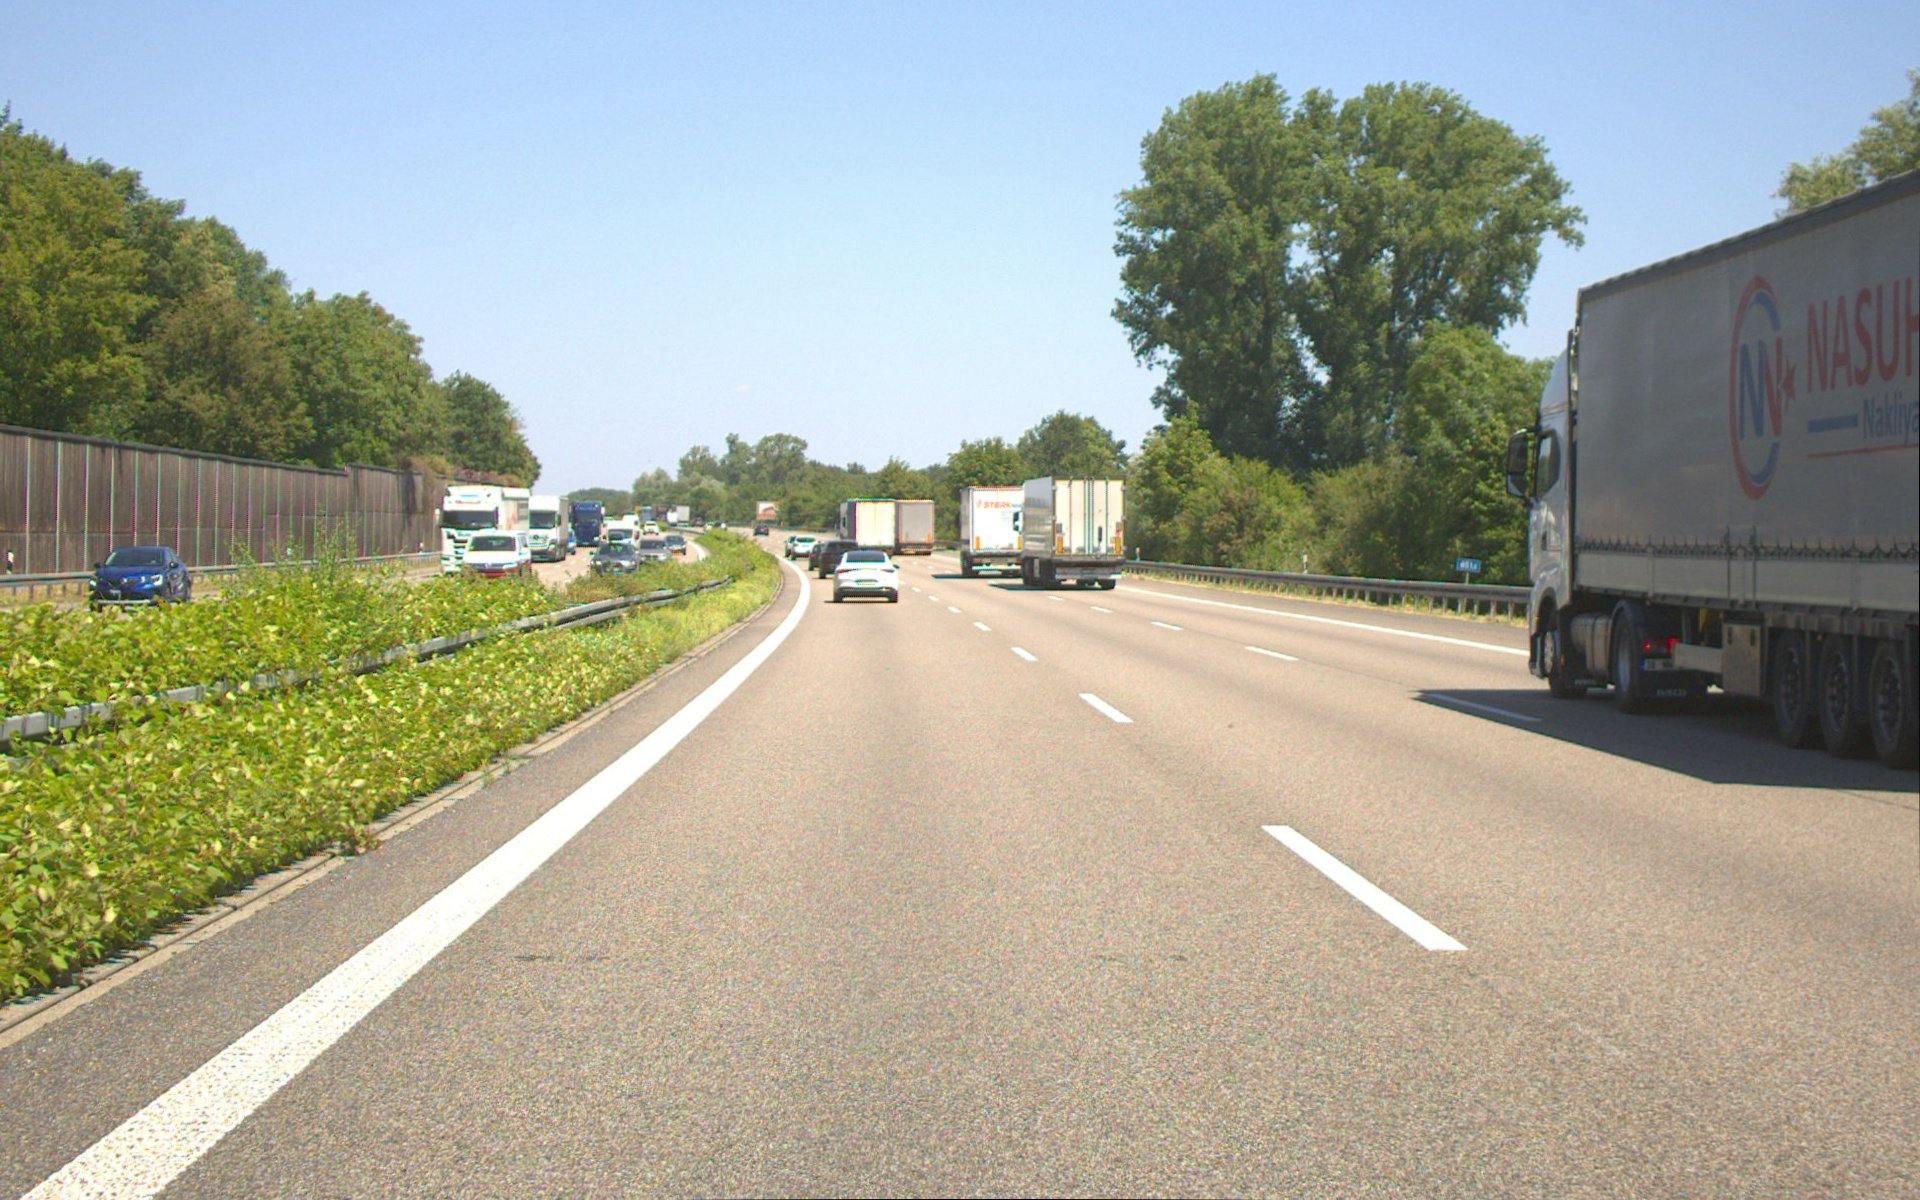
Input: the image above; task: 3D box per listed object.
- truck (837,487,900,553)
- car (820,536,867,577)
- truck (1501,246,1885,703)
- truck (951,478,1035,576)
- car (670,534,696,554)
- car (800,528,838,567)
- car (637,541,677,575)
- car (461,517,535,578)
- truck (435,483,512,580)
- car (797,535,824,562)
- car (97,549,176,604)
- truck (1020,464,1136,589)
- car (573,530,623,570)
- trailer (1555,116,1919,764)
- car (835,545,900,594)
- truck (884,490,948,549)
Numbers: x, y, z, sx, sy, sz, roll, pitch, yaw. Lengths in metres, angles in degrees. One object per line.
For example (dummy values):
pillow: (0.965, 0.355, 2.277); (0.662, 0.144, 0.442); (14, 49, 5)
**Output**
truck: (-6.286, -5.377, 233.949); (3.579, 4.296, 12.192); (0, 1, -5)
car: (-5.150, -1.940, 152.006); (1.993, 1.766, 4.001); (0, 1, -3)
truck: (7.319, -1.210, 35.027); (2.605, 4.272, 5.436); (0, 1, -1)
truck: (1.420, -3.265, 156.430); (3.359, 4.296, 10.829); (0, 1, -2)
car: (-20.111, -4.091, 249.688); (1.760, 1.423, 3.936); (0, 1, -3)
car: (-7.433, -2.765, 181.538); (1.993, 2.007, 4.001); (0, 1, -2)
car: (-14.986, -2.101, 170.187); (1.766, 1.646, 4.039); (0, 1, -2)
car: (-15.059, -1.713, 112.274); (1.926, 1.939, 4.609); (0, 1, -2)
truck: (-21.470, -2.994, 151.954); (2.730, 4.178, 6.037); (0, 1, -2)
car: (-9.924, -3.436, 228.419); (1.723, 1.777, 4.001); (0, 1, -2)
car: (-19.368, -0.565, 80.967); (1.279, 1.251, 3.029); (0, 1, -3)
truck: (4.193, -2.617, 124.643); (3.492, 4.296, 10.989); (0, 1, -2)
car: (-14.351, -1.998, 136.595); (1.713, 1.538, 4.362); (0, 1, -3)
trailer: (7.484, -1.107, 27.658); (2.624, 4.246, 14.062); (0, 1, -1)
car: (-2.609, -0.870, 97.997); (1.715, 1.365, 3.375); (0, 1, 1)
truck: (-3.362, -5.979, 257.024); (3.829, 4.296, 11.556); (0, 1, -5)
